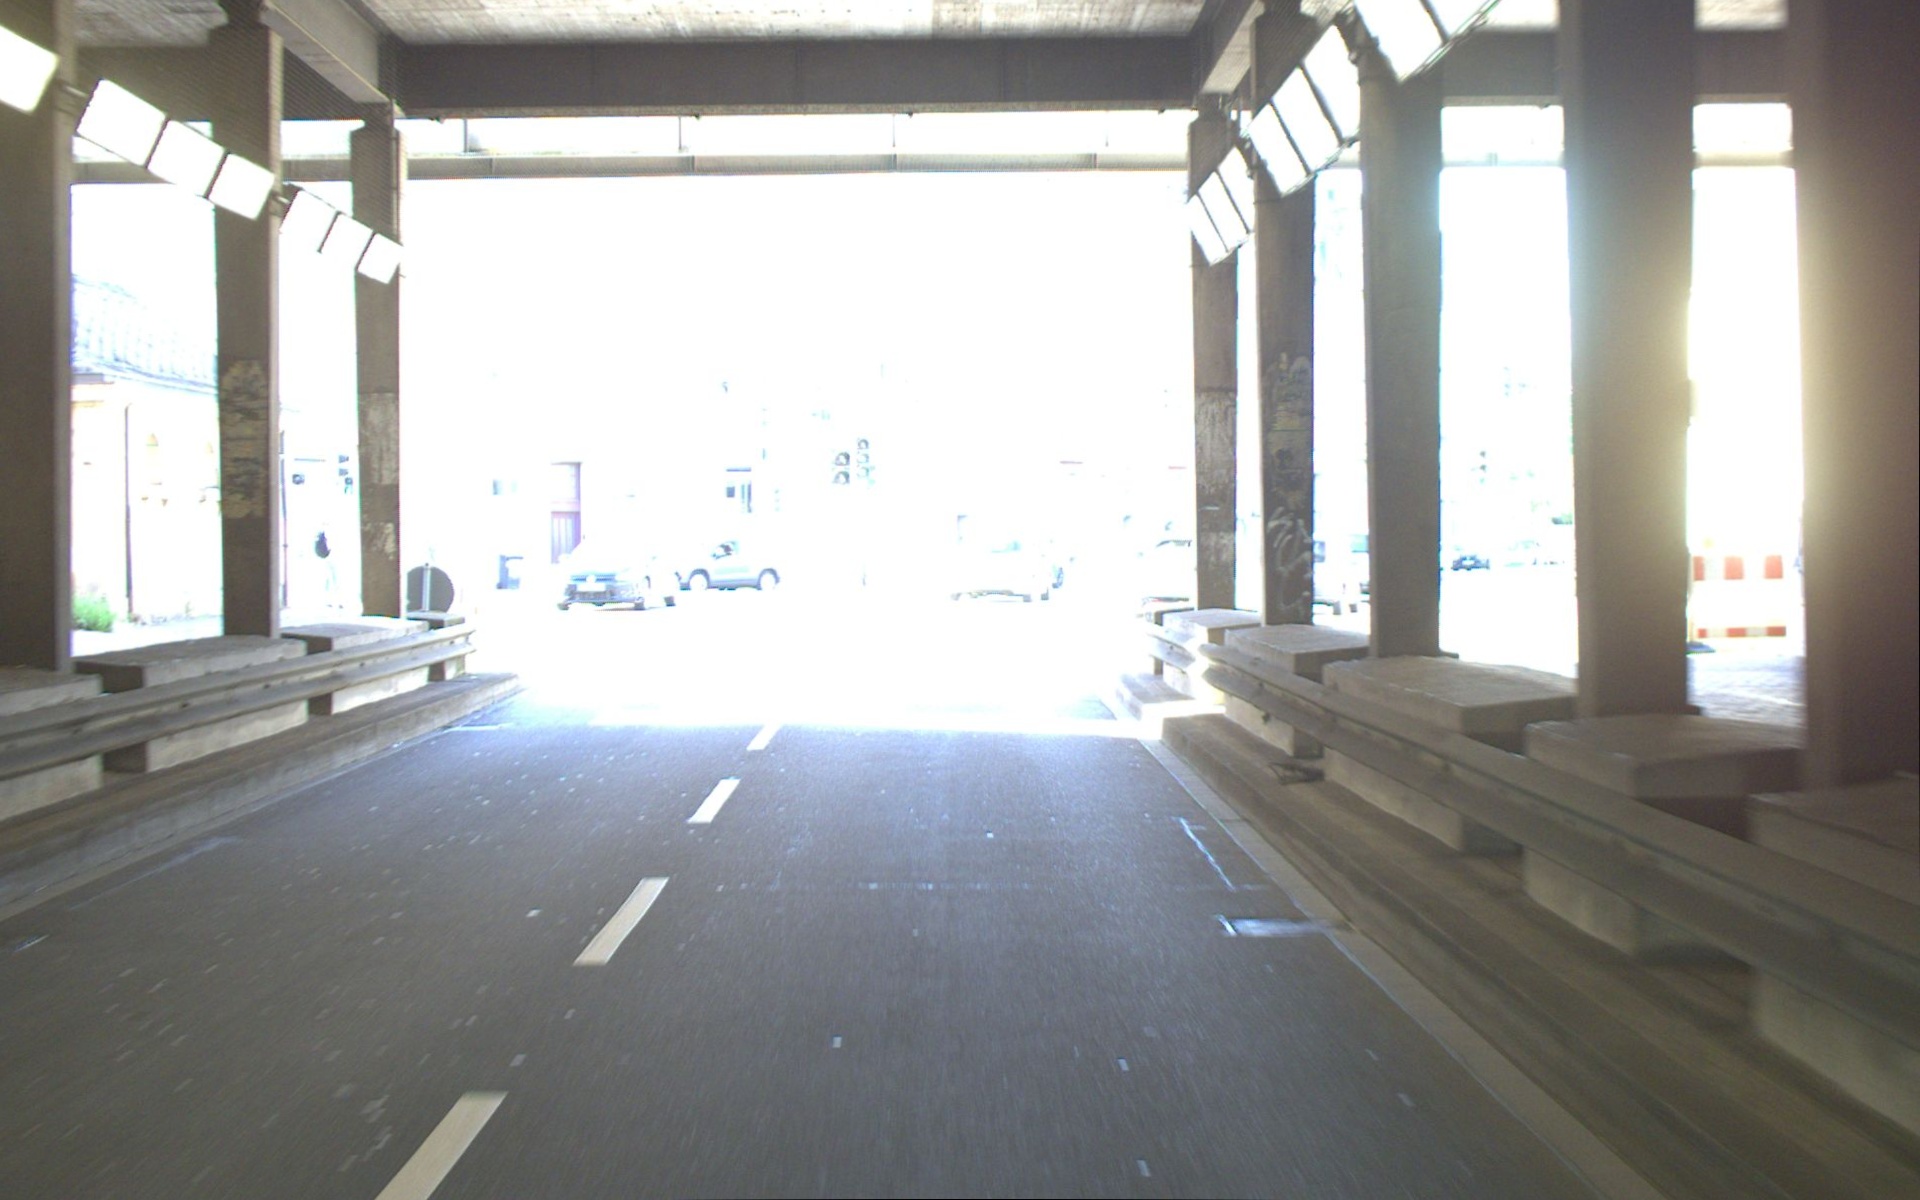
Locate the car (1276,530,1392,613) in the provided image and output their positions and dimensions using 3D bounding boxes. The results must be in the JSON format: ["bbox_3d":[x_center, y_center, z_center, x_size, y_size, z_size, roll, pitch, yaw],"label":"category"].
[{"bbox_3d":[7.105,-0.555,65.008,1.732,1.495,3.998,0,1,13],"label":"car"}]

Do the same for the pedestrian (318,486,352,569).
[{"bbox_3d":[-12.380,-1.437,68.052,0.487,1.634,0.625,-1,1,-27],"label":"pedestrian"}]

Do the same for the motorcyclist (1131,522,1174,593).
[{"bbox_3d":[3.926,-0.870,69.983,0.777,1.418,0.891,0,1,8],"label":"motorcyclist"}]

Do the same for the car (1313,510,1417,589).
[{"bbox_3d":[8.478,-1.062,71.690,1.815,1.576,3.998,0,1,11],"label":"car"}]

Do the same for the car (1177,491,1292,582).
[{"bbox_3d":[6.387,-1.462,79.526,2.173,2.002,4.806,-1,1,10],"label":"car"}]

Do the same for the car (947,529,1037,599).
[{"bbox_3d":[0.675,-0.753,70.754,1.786,1.389,4.105,0,1,1],"label":"car"}]

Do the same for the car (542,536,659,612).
[{"bbox_3d":[-6.989,-0.525,67.138,1.752,1.400,4.415,0,1,1],"label":"car"}]

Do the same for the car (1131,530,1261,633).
[{"bbox_3d":[3.693,-0.319,53.704,1.948,1.523,4.089,0,1,4],"label":"car"}]

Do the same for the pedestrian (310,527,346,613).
[{"bbox_3d":[-12.191,-0.579,66.312,0.513,1.634,0.625,-1,1,-27],"label":"pedestrian"}]

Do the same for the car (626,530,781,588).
[{"bbox_3d":[-7.030,-1.141,94.345,3.870,1.568,1.929,-1,2,-43],"label":"car"}]
